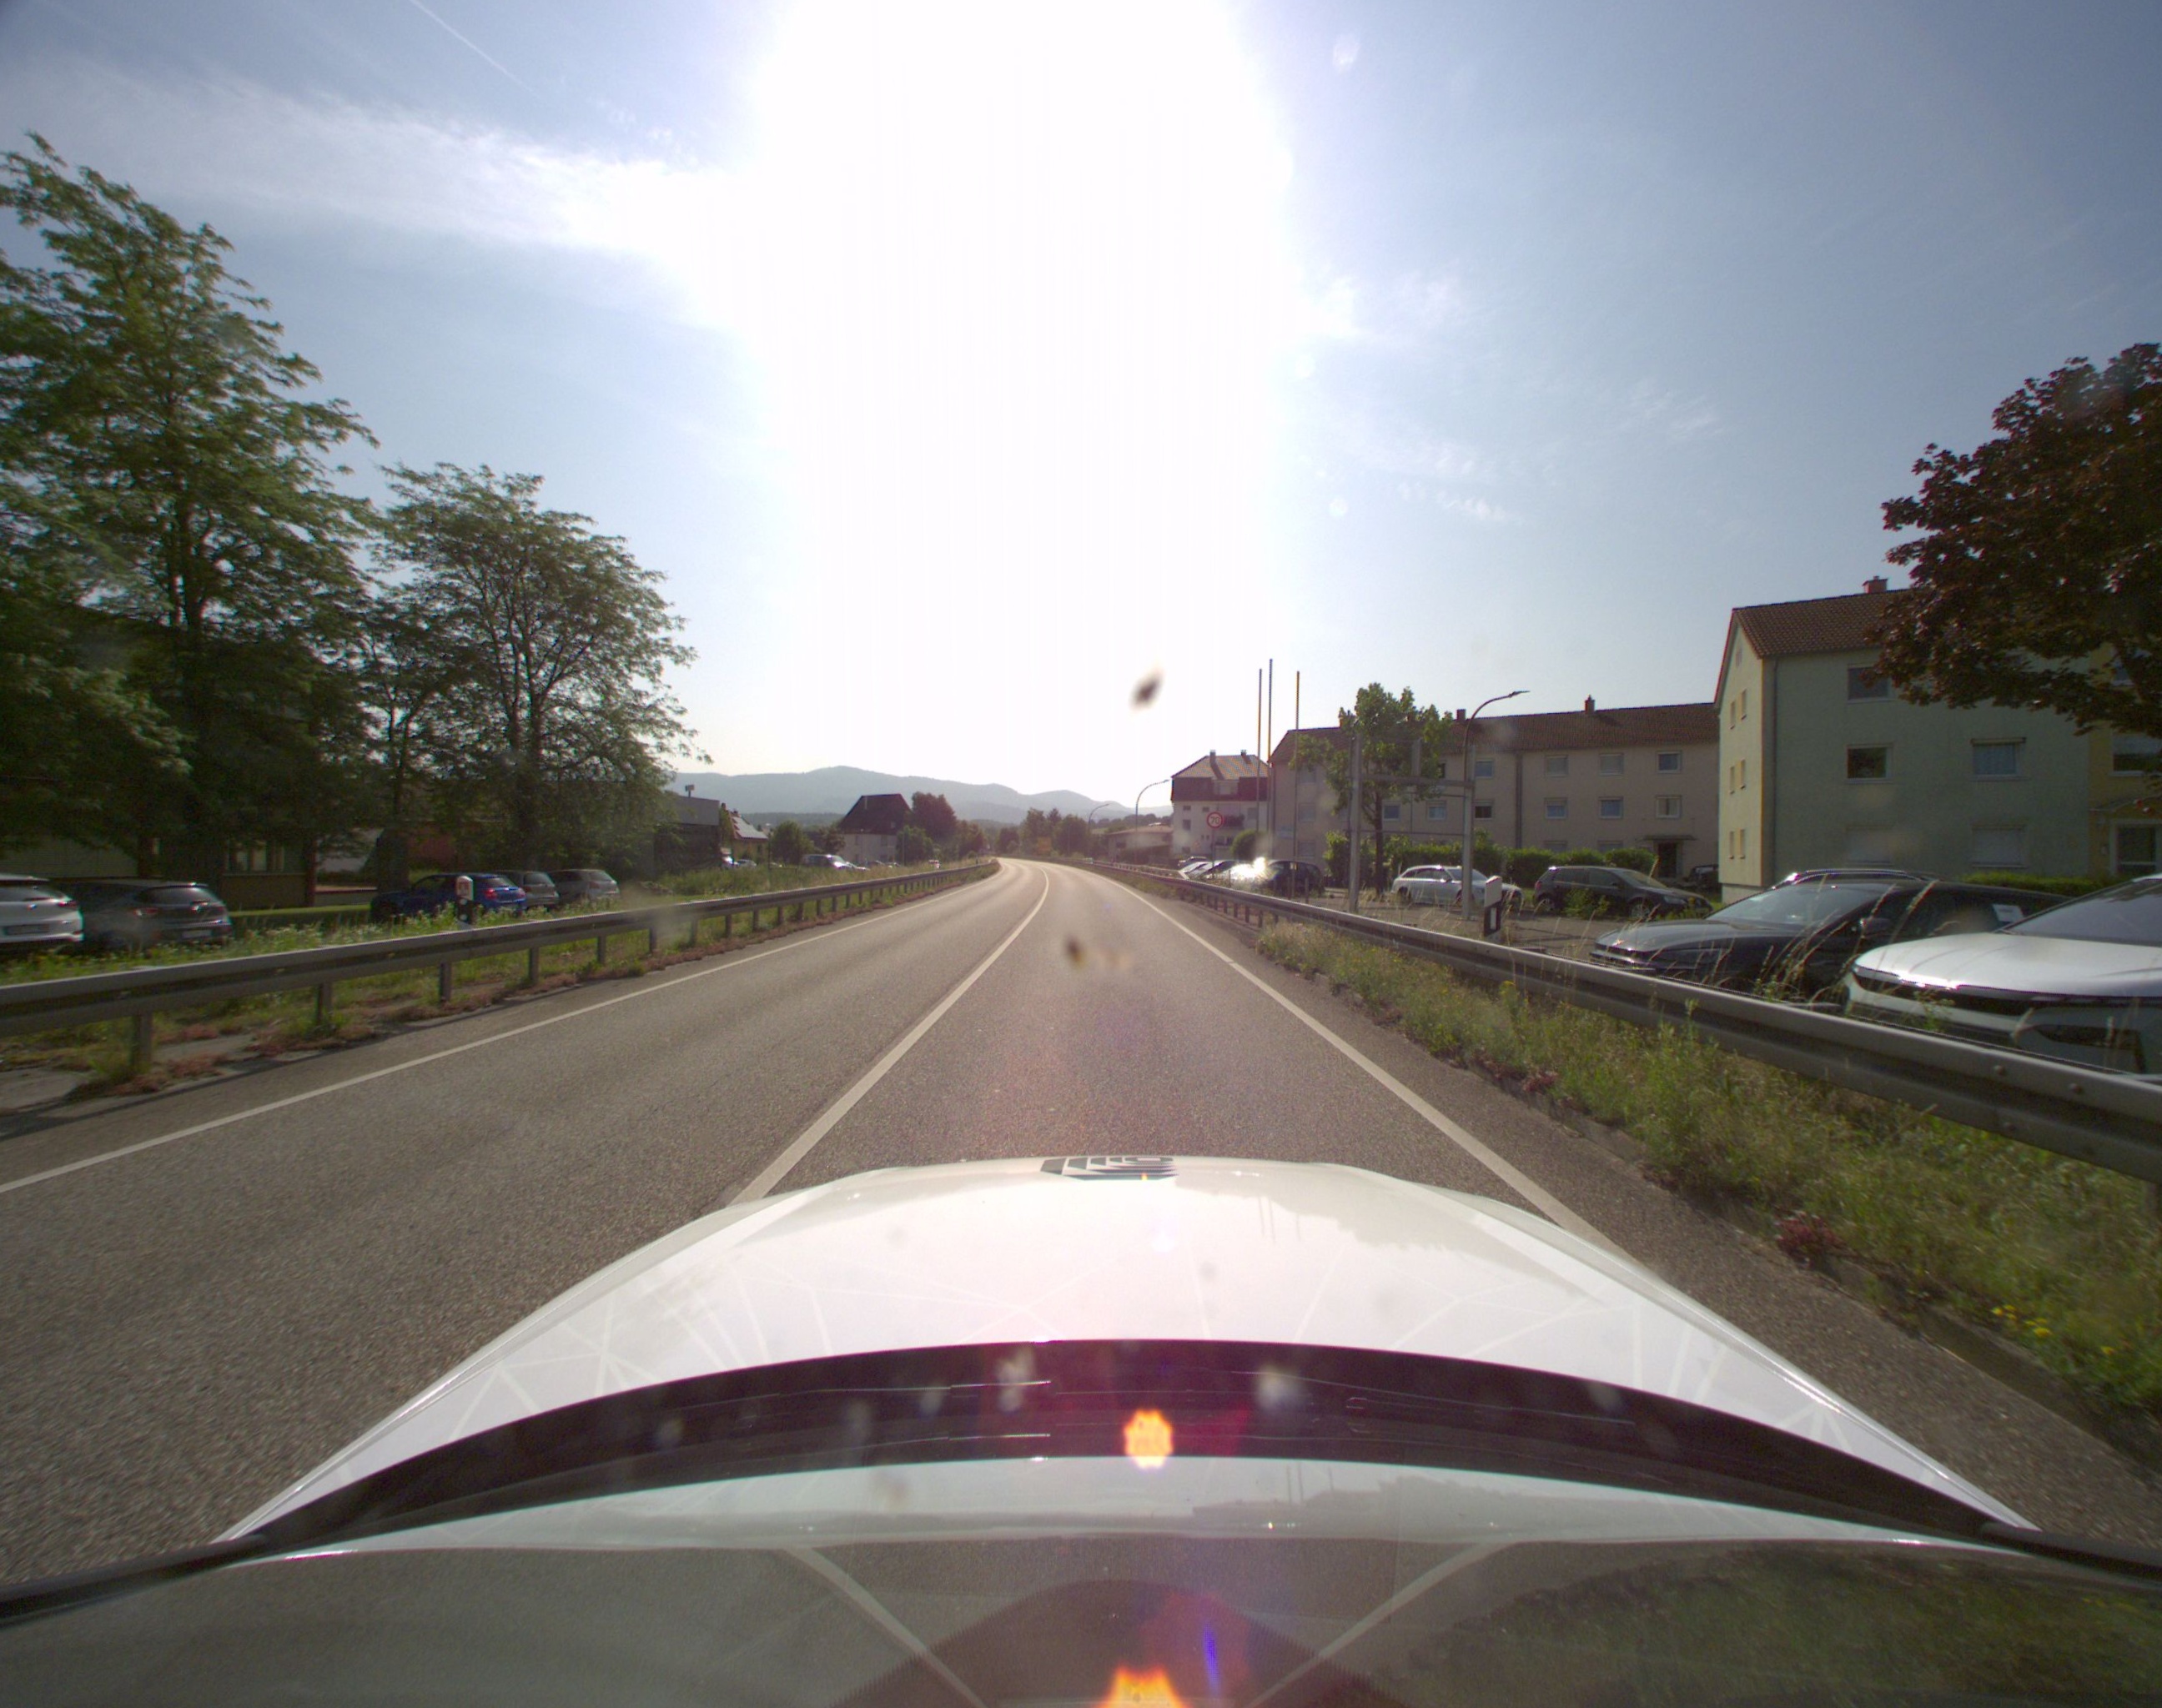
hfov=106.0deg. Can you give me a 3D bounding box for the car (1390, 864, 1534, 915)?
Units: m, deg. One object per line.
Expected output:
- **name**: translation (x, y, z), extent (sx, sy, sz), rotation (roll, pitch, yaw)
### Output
- **car**: translation (12.148, 1.083, 26.307), extent (1.787, 1.420, 4.415), rotation (0, 0, -16)

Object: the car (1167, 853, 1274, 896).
- **car**: translation (6.200, 0.910, 36.253), extent (4.238, 1.572, 1.910), rotation (4, -2, -14)

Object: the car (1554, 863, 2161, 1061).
- **car**: translation (7.045, 0.880, 7.617), extent (4.130, 1.483, 1.885), rotation (2, -1, 5)

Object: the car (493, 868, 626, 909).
- **car**: translation (-19.497, 1.283, 30.589), extent (3.736, 1.460, 1.861), rotation (0, -1, -1)

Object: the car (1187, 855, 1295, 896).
- **car**: translation (6.597, 0.894, 33.786), extent (3.988, 1.450, 1.758), rotation (4, -1, -11)

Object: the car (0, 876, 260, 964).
- **car**: translation (-18.724, 1.220, 15.666), extent (3.738, 1.499, 1.930), rotation (1, -1, -3)

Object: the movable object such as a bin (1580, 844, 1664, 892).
- **movable object such as a bin**: translation (28.458, 0.725, 42.867), extent (3.488, 2.358, 1.594), rotation (0, -4, 42)

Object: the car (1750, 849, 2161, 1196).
- **car**: translation (7.021, 0.799, 4.826), extent (4.300, 1.640, 2.142), rotation (0, -1, 3)

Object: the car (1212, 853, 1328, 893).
- **car**: translation (7.266, 0.700, 31.365), extent (4.067, 1.452, 1.719), rotation (0, -1, -17)

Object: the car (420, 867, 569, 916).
- **car**: translation (-19.685, 1.235, 27.443), extent (3.728, 1.499, 1.861), rotation (1, -1, 6)

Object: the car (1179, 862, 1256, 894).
- **car**: translation (6.507, 1.153, 38.985), extent (3.267, 1.376, 1.542), rotation (3, -2, -13)

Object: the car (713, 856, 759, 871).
- **car**: translation (-40.087, 1.065, 94.597), extent (4.539, 1.633, 1.863), rotation (1, 0, 3)

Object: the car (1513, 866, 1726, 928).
- **car**: translation (13.706, 1.028, 21.091), extent (1.710, 1.405, 4.453), rotation (0, -1, -21)

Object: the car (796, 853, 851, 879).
- **car**: translation (-20.832, 0.969, 65.826), extent (4.843, 2.013, 2.012), rotation (0, 0, 42)

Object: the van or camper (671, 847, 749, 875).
- **van or camper**: translation (-41.074, 0.765, 90.267), extent (7.363, 2.842, 2.749), rotation (1, -1, 3)

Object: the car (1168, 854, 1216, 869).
- **car**: translation (11.321, 0.755, 83.154), extent (4.555, 1.348, 1.765), rotation (-1, 1, 23)

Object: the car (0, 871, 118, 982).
- **car**: translation (-18.733, 1.107, 12.929), extent (4.340, 1.655, 1.930), rotation (1, -1, -3)

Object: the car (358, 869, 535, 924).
- **car**: translation (-18.953, 1.250, 24.468), extent (3.736, 1.499, 1.931), rotation (1, -1, -1)

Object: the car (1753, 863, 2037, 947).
- **car**: translation (15.928, 0.907, 16.177), extent (1.710, 1.405, 3.637), rotation (0, 0, -21)

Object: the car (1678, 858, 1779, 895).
- **car**: translation (32.930, 1.132, 41.582), extent (3.948, 1.739, 1.827), rotation (0, -4, 35)
